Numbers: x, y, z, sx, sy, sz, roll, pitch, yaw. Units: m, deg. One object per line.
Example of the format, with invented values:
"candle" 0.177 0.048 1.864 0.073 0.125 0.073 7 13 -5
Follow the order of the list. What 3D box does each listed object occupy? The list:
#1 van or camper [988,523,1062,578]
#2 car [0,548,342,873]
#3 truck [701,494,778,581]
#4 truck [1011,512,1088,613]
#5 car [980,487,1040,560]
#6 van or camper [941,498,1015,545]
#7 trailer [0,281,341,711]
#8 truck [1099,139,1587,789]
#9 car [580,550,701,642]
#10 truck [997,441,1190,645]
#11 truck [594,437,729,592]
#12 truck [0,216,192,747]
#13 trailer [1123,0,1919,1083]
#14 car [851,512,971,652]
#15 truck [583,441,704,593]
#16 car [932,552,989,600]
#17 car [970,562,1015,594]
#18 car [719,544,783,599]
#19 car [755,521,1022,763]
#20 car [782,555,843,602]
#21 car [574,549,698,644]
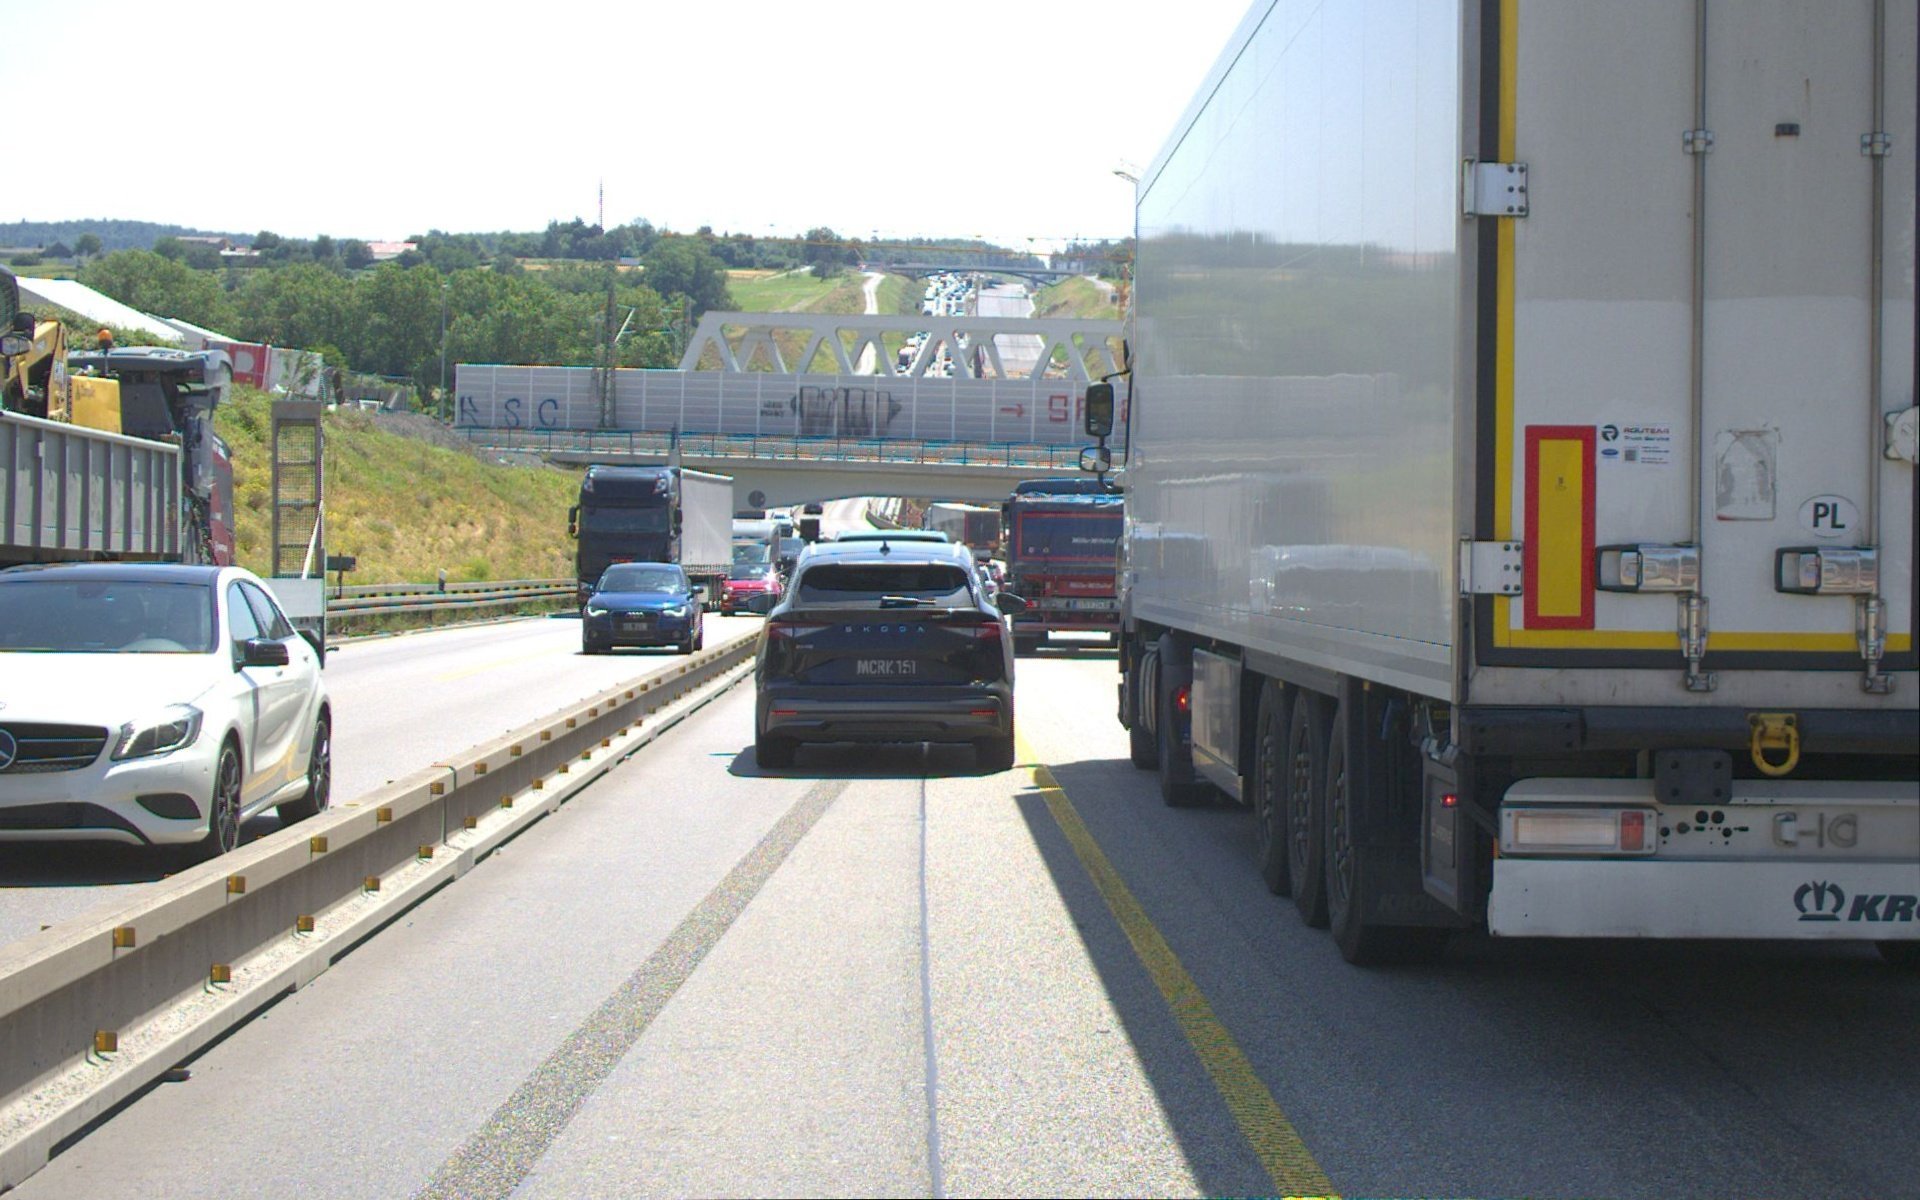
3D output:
"van or camper" 4.211 -3.236 221.109 3.944 3.408 8.404 1 1 6
"car" -4.265 0.458 17.282 1.684 1.425 4.123 0 1 -2
"truck" -7.512 -2.105 117.443 2.268 2.872 5.851 1 1 0
"truck" 3.906 -1.671 152.169 3.176 4.303 9.257 1 1 0
"car" 1.599 -2.450 110.835 1.661 2.262 3.797 2 1 -2
"van or camper" 1.294 -5.866 255.732 3.942 3.408 8.409 1 1 -11
"trailer" -8.112 -0.957 33.630 2.587 3.624 9.079 0 1 -1
"truck" 2.497 -0.881 23.980 2.776 4.044 4.905 1 1 0
"car" -5.026 -0.081 54.433 1.689 1.398 3.687 0 1 -2
"truck" 2.131 -0.971 59.588 2.814 3.124 12.838 1 1 0
"truck" -8.434 -2.385 98.588 2.767 4.074 13.807 1 1 -1
"truck" -8.017 -0.859 25.680 2.587 3.710 9.333 0 1 -1
"trailer" 2.585 -0.795 16.401 2.801 4.044 14.117 1 1 0
"car" -0.623 -0.262 45.716 1.475 1.789 3.297 0 1 1
"truck" -8.358 -2.170 91.287 2.767 3.871 4.964 1 1 -1
"car" 0.008 -0.697 98.982 1.491 1.326 3.244 2 1 -2
"car" 1.255 -0.865 134.300 1.538 1.202 3.311 0 1 -3
"car" -5.741 -0.786 94.518 1.590 1.481 3.295 0 1 -1
"car" -0.502 0.246 24.824 1.800 1.615 3.298 0 2 -1
"car" -4.746 -0.710 110.723 1.826 1.481 4.196 0 1 -1
"car" -5.025 -0.079 53.748 1.684 1.425 3.850 0 1 -2
